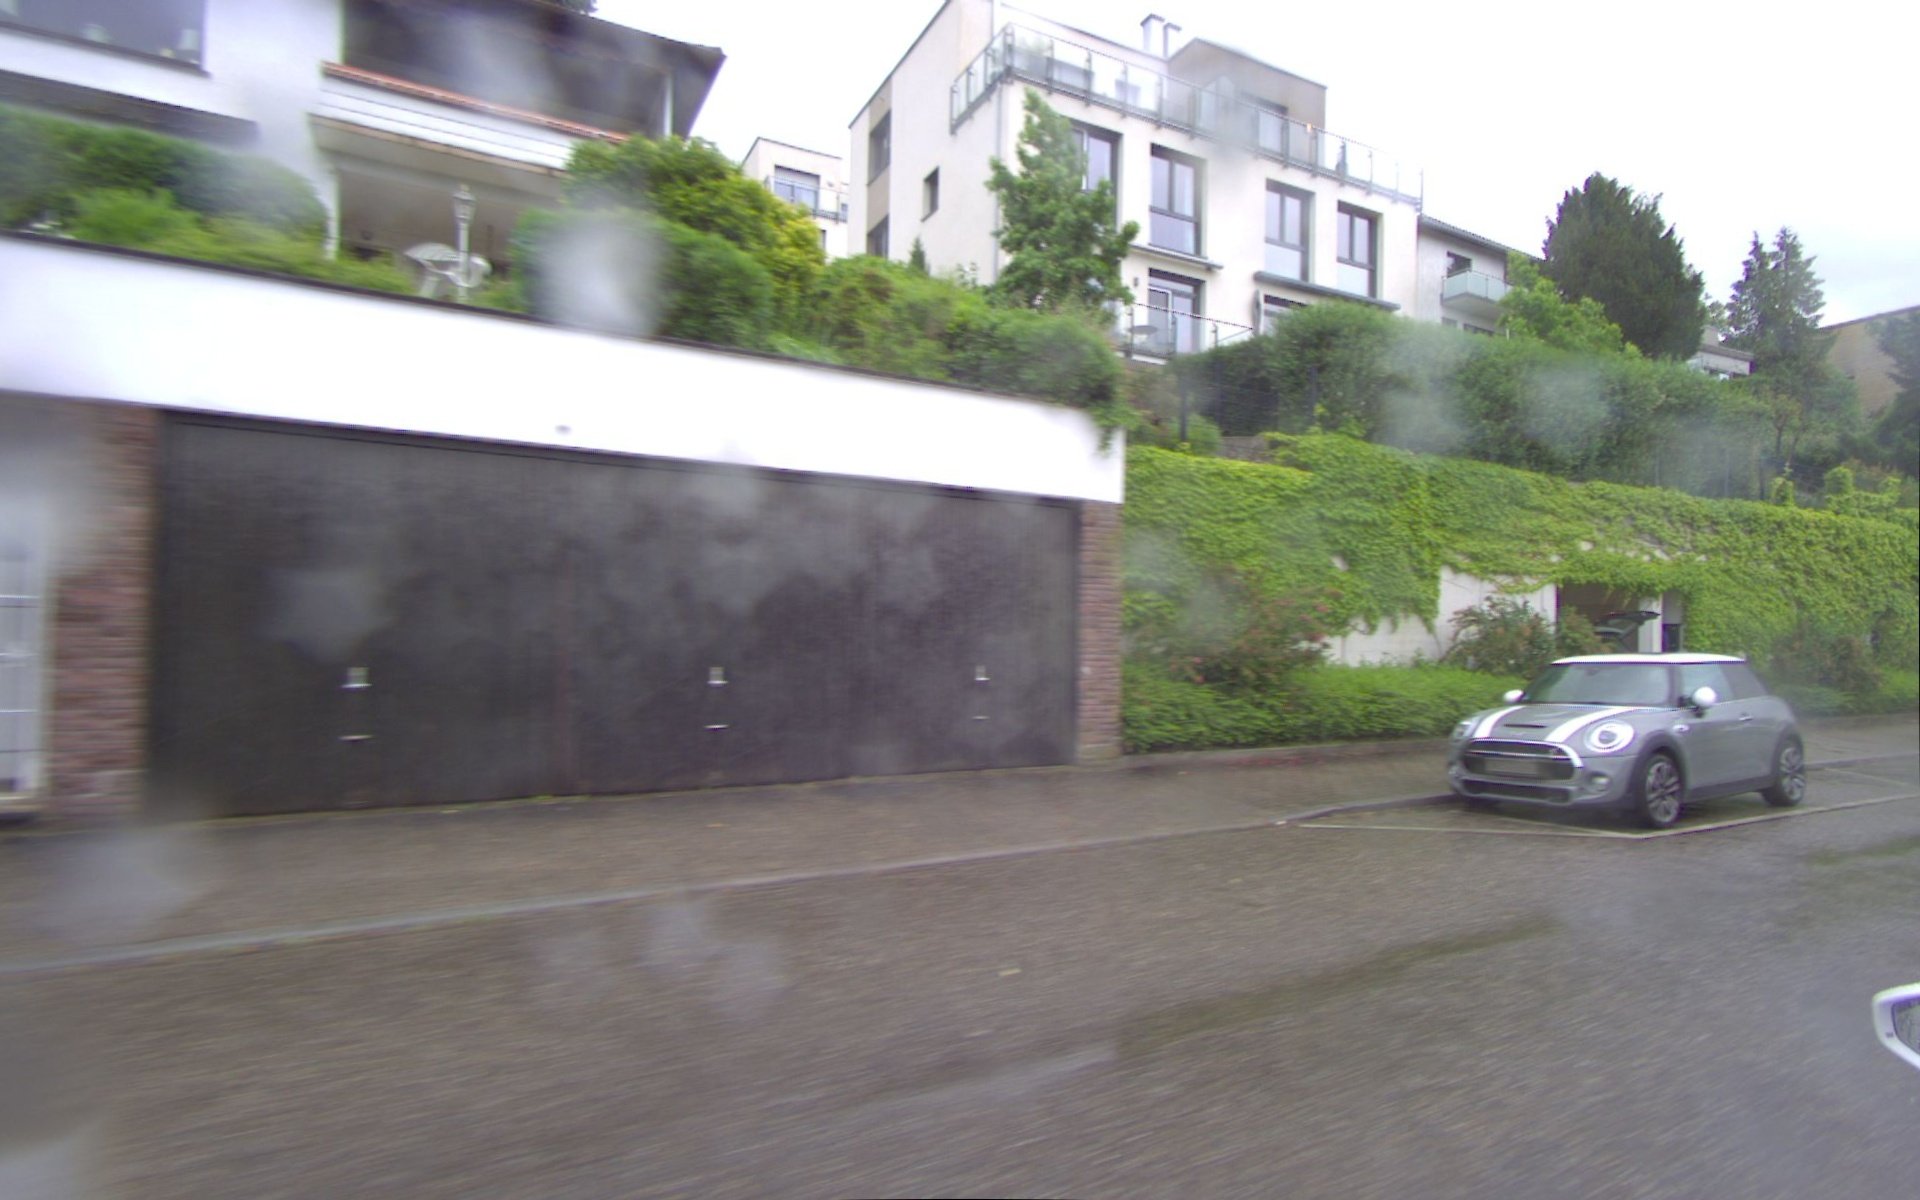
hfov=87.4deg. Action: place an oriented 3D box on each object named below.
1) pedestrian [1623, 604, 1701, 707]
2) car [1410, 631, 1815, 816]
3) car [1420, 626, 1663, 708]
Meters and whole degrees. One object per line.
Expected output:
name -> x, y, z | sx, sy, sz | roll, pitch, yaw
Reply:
pedestrian -> 13.491, 1.059, 19.312 | 0.890, 1.905, 0.839 | 3, 0, -26
car -> 6.191, 1.062, 9.478 | 3.727, 1.420, 1.747 | 2, -4, -31
car -> 11.261, 1.246, 19.717 | 1.841, 1.402, 3.745 | 2, -1, -26
